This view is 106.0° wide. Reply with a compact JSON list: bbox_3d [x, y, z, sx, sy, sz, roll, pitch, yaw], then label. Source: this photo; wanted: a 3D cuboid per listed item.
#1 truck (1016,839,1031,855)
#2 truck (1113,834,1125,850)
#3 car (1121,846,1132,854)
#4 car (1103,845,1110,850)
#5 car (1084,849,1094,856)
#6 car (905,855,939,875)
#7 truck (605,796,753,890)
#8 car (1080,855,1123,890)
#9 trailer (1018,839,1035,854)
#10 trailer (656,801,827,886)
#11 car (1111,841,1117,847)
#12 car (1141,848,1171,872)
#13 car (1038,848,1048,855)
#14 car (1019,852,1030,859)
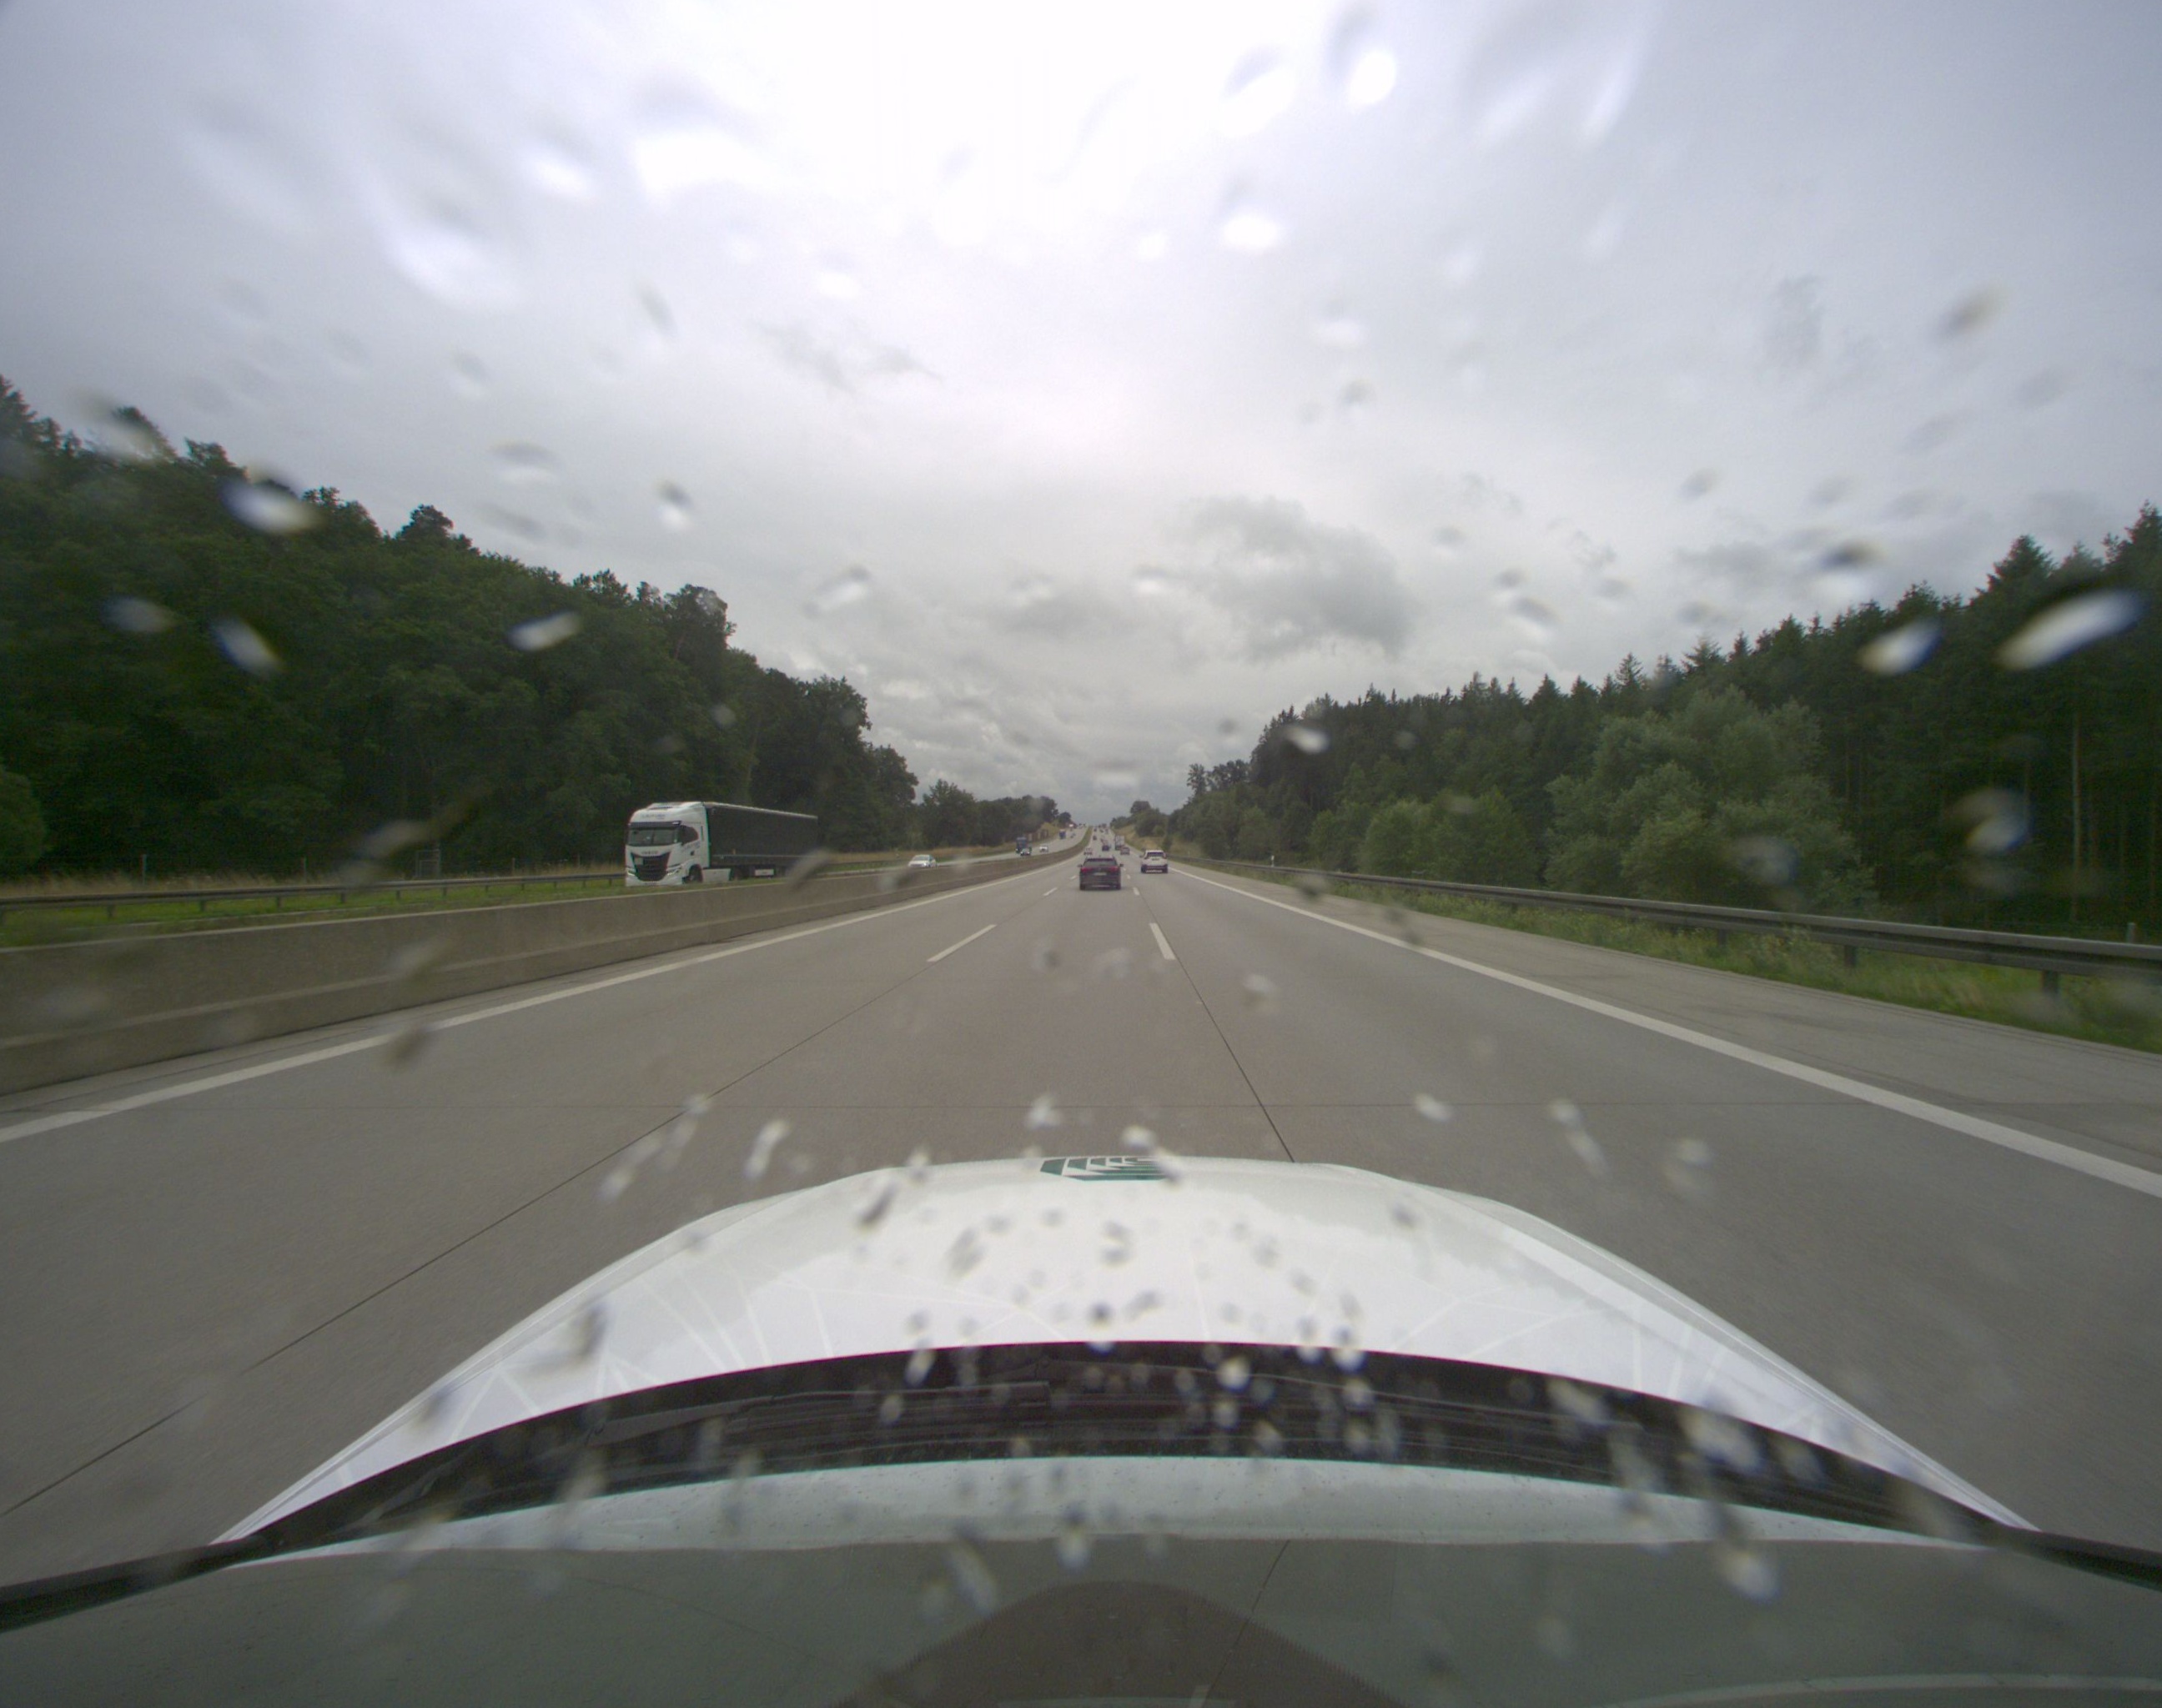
[{"bbox_3d":[-13.344,-1.614,189.400,2.746,3.516,6.643,0,0,2],"label":"truck"},{"bbox_3d":[10.255,-3.196,218.762,3.007,4.179,8.357,0,2,1],"label":"truck"},{"bbox_3d":[9.215,-0.714,163.516,1.987,1.530,4.000,1,0,0],"label":"car"},{"bbox_3d":[6.482,-1.666,206.199,1.927,1.375,4.597,0,1,2],"label":"car"},{"bbox_3d":[1.721,-0.325,167.979,1.940,1.356,4.261,-1,-1,2],"label":"car"},{"bbox_3d":[-13.061,0.868,67.159,1.777,1.468,4.374,-1,1,2],"label":"car"},{"bbox_3d":[-18.689,-0.492,38.483,3.200,4.057,7.169,0,0,2],"label":"truck"},{"bbox_3d":[0.936,0.753,35.055,1.745,1.398,4.487,0,0,3],"label":"car"},{"bbox_3d":[-13.170,-1.680,196.288,2.775,3.507,13.890,0,0,2],"label":"trailer"},{"bbox_3d":[-18.428,-0.536,45.918,3.222,4.052,14.138,0,0,2],"label":"trailer"},{"bbox_3d":[9.842,-2.907,242.925,1.985,1.639,4.004,0,2,3],"label":"car"},{"bbox_3d":[5.390,0.405,59.140,1.820,1.655,3.984,-1,0,0],"label":"car"},{"bbox_3d":[-9.265,-0.616,199.807,2.080,1.801,5.499,0,0,1],"label":"car"},{"bbox_3d":[-10.913,0.242,158.157,1.842,1.376,4.436,0,0,-1],"label":"car"}]
